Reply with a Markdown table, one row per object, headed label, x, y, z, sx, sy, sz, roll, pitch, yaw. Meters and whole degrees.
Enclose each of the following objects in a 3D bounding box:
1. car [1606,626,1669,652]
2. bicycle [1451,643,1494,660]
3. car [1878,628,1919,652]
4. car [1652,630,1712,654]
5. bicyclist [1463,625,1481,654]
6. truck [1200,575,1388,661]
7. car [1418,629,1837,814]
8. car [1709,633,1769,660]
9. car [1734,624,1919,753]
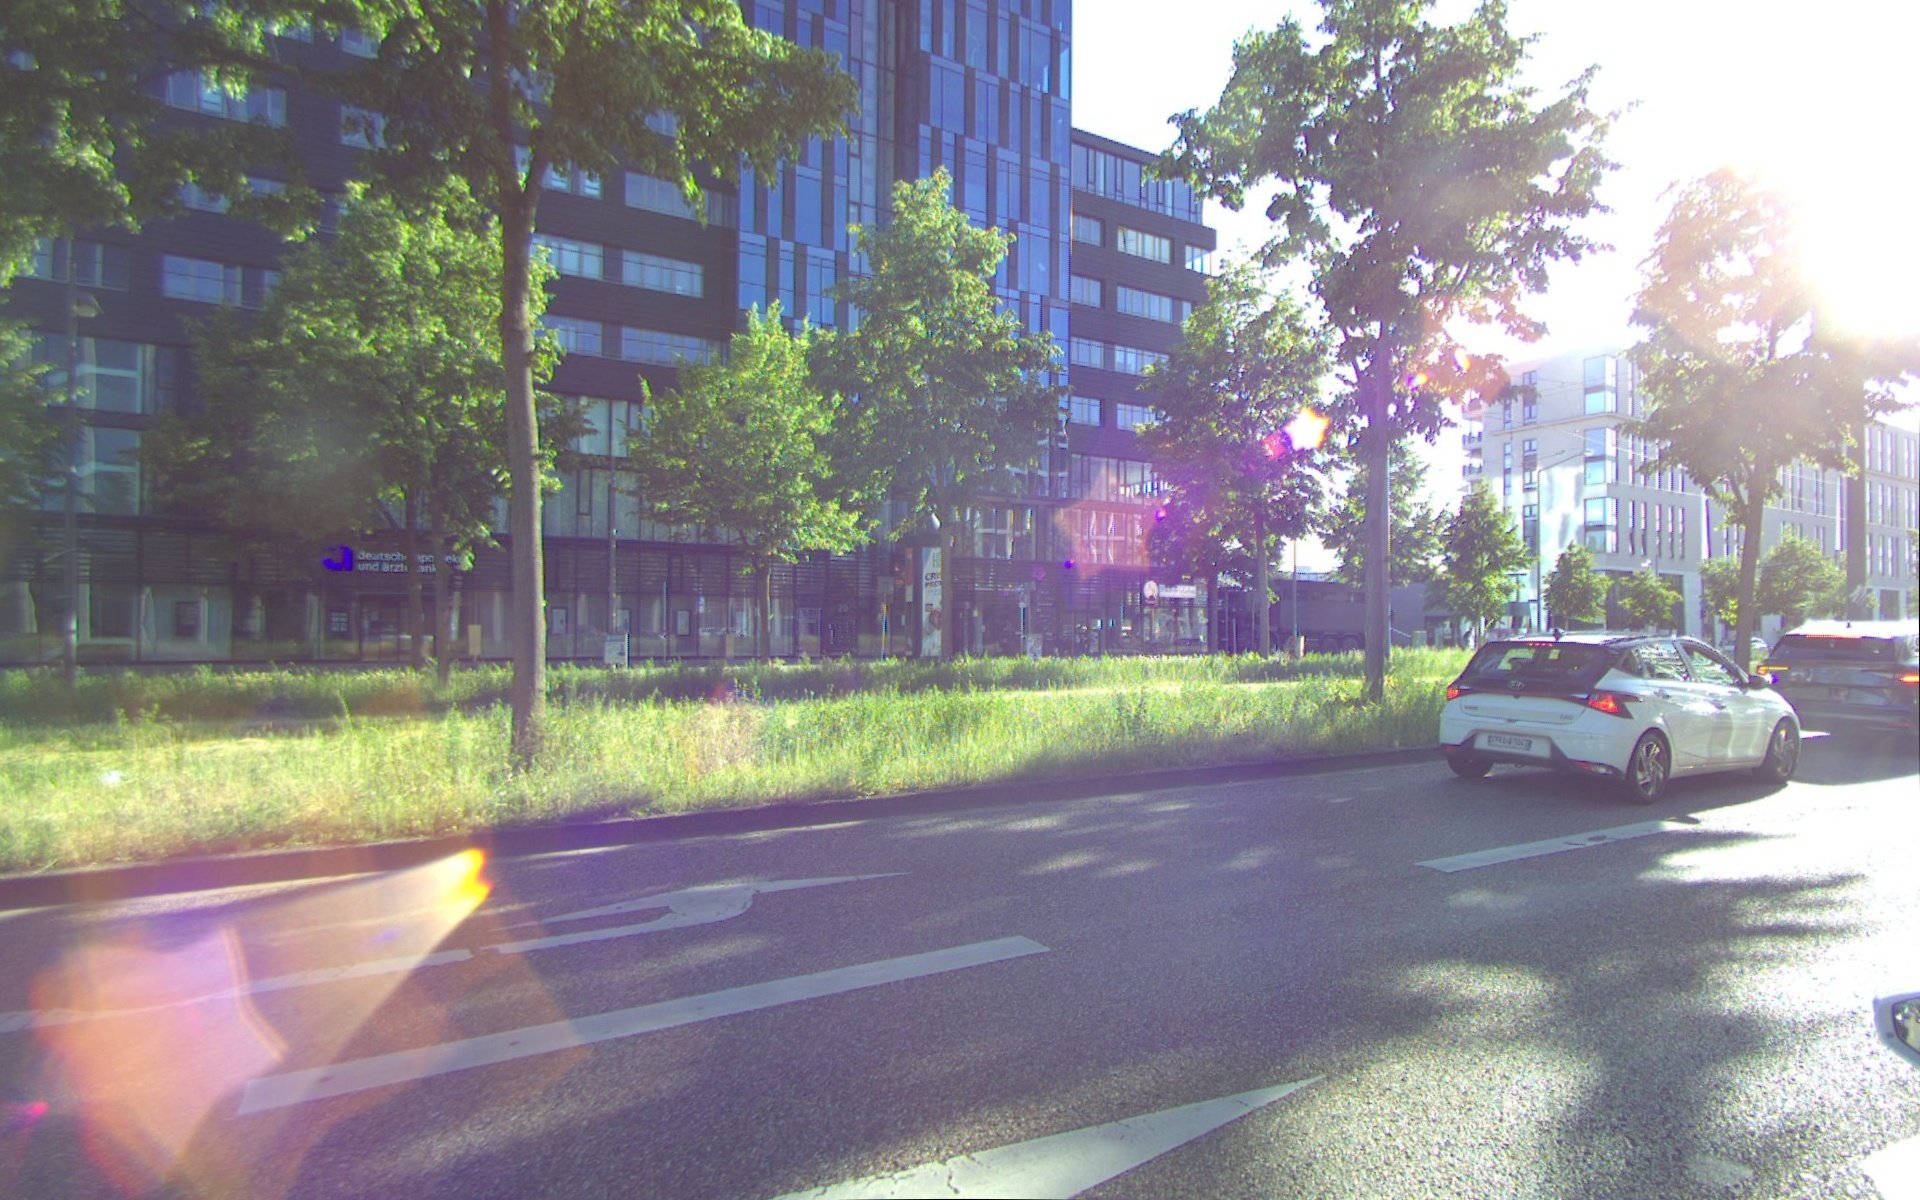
| label | x | y | z | sx | sy | sz | roll | pitch | yaw |
| --- | --- | --- | --- | --- | --- | --- | --- | --- | --- |
| car | 42.392 | 2.434 | 62.842 | 3.953 | 1.540 | 1.756 | 1 | -2 | -30 |
| bicycle | 37.807 | 3.778 | 74.182 | 0.807 | 1.206 | 2.930 | 1 | -2 | -28 |
| car | 82.940 | 3.532 | 88.486 | 3.953 | 2.040 | 1.984 | 1 | -1 | -30 |
| car | 47.473 | 2.744 | 66.027 | 3.953 | 1.540 | 1.756 | 1 | -2 | -30 |
| bicyclist | 37.821 | 2.934 | 74.210 | 0.808 | 2.120 | 0.936 | 1 | -1 | -28 |
| truck | 16.563 | 0.964 | 49.431 | 10.094 | 3.904 | 2.877 | 1 | -1 | -31 |
| car | 6.739 | 1.043 | 10.013 | 4.517 | 1.466 | 1.790 | 2 | -2 | -32 |
| car | 56.325 | 3.339 | 72.618 | 4.319 | 1.838 | 1.984 | 1 | -2 | -30 |
| car | 12.412 | 1.086 | 13.387 | 4.516 | 1.466 | 1.790 | 1 | -3 | -31 |
